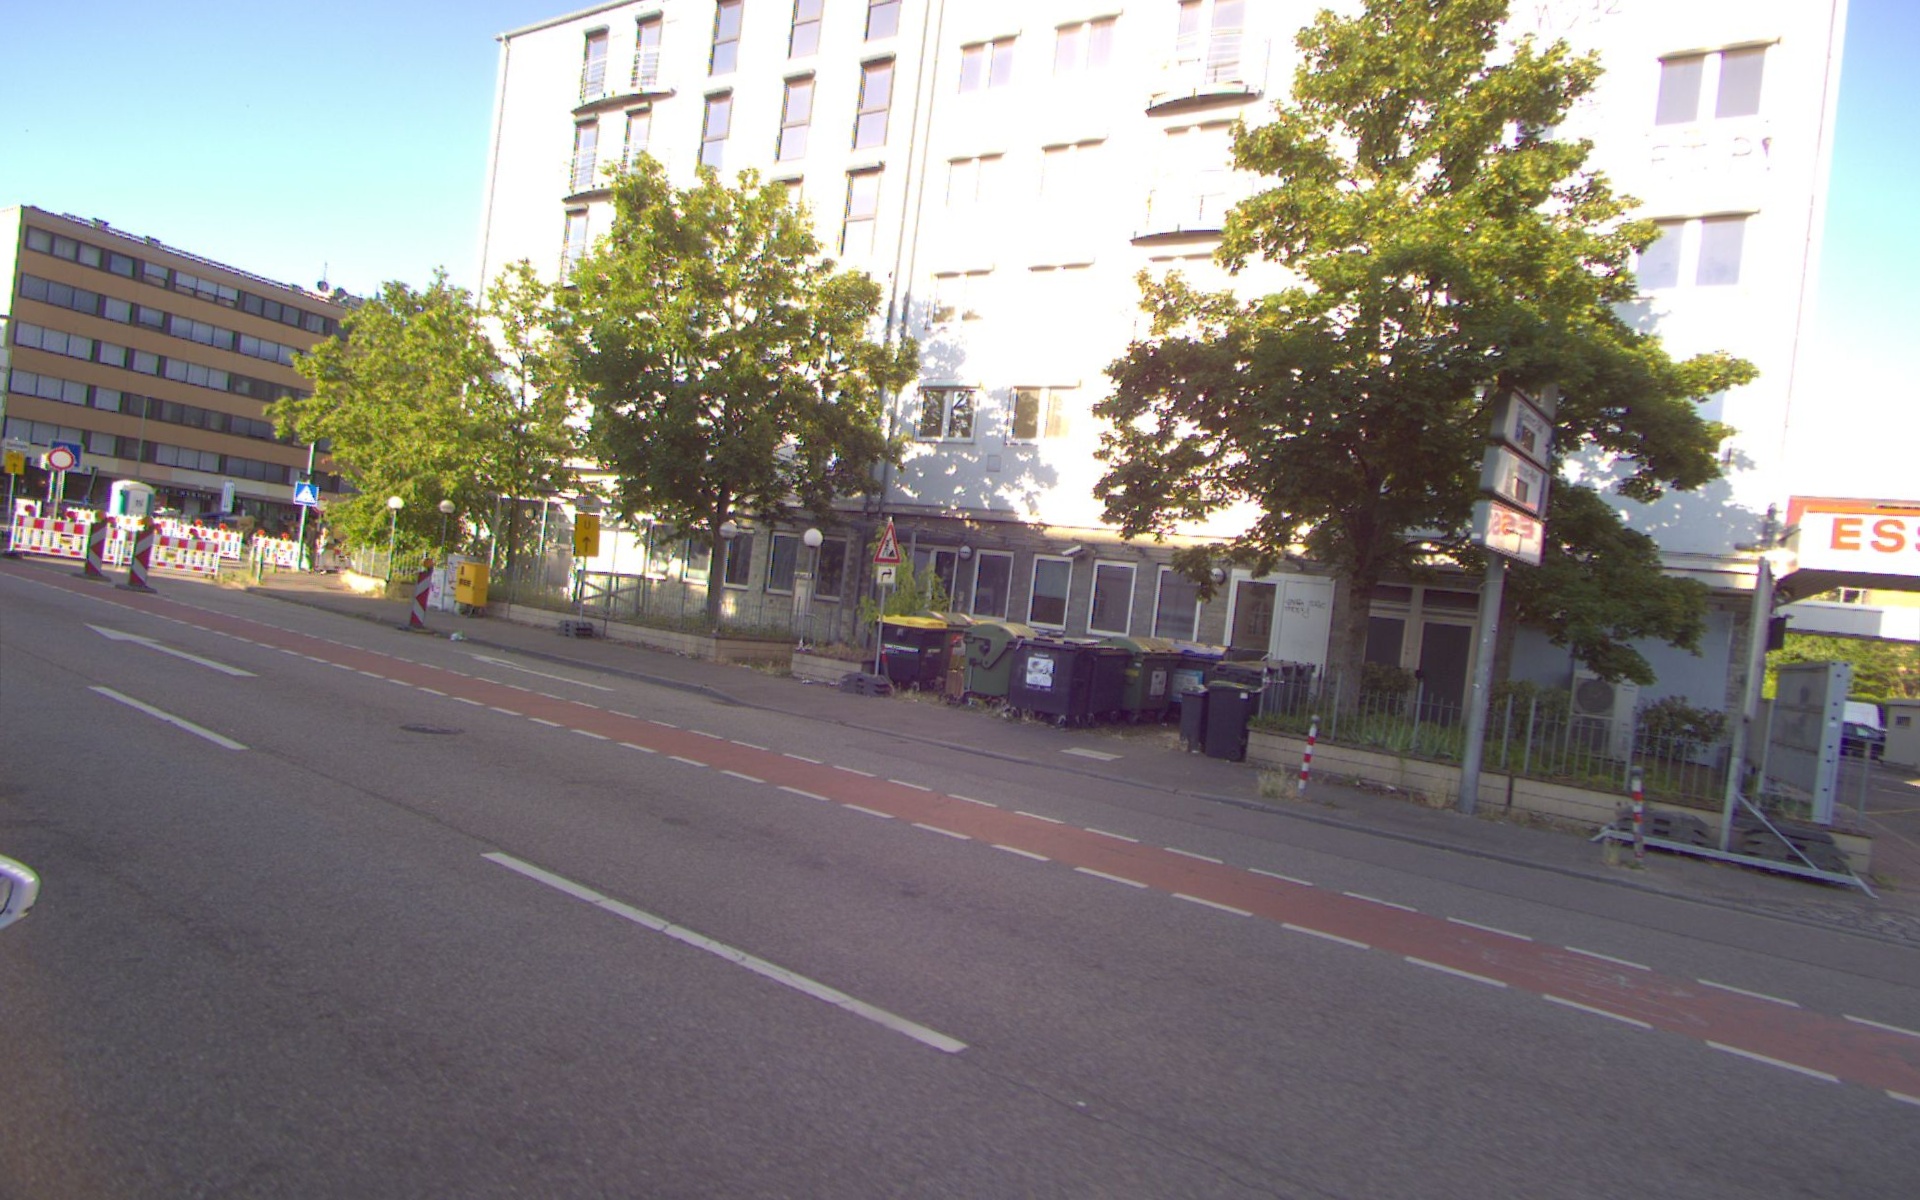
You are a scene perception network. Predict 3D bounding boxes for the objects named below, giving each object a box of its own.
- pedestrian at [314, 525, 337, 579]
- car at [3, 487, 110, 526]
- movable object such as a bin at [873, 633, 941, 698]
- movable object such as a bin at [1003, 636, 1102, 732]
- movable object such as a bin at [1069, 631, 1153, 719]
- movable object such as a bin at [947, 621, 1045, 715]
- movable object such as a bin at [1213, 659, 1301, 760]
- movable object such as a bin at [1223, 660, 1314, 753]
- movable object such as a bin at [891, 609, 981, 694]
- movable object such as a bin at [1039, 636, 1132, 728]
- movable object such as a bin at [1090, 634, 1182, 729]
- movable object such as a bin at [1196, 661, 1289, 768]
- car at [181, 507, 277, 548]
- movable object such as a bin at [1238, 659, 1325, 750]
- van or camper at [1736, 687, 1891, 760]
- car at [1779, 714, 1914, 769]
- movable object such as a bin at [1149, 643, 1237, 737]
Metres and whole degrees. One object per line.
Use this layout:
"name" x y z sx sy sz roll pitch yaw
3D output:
"pedestrian" -22.938 -1.726 36.359 0.481 1.857 0.568 7 1 -26
"car" -50.202 -5.165 56.002 1.756 1.437 3.997 7 -1 26
"movable object such as a bin" -0.954 1.180 18.156 0.805 1.058 0.852 7 0 28
"movable object such as a bin" 1.469 1.318 15.963 1.142 1.344 0.955 7 0 30
"movable object such as a bin" 2.924 1.447 19.451 1.142 1.517 1.033 7 0 30
"movable object such as a bin" 0.640 1.174 17.505 1.087 1.441 1.350 7 0 28
"movable object such as a bin" 4.478 1.624 15.126 0.938 1.344 0.955 7 0 30
"movable object such as a bin" 4.944 1.676 16.093 1.079 1.299 0.955 7 0 30
"movable object such as a bin" -0.459 1.019 19.775 1.087 1.479 1.350 7 0 28
"movable object such as a bin" 2.109 1.364 16.840 1.142 1.344 0.955 7 0 30
"movable object such as a bin" 3.070 1.408 17.512 1.142 1.466 1.033 7 0 30
"movable object such as a bin" 4.015 1.596 14.260 0.938 1.344 0.955 7 0 30
"car" -44.873 -4.412 61.812 1.967 1.839 4.220 7 0 33
"movable object such as a bin" 5.427 1.747 16.963 1.079 1.344 0.955 7 0 30
"van or camper" 42.664 6.109 50.479 5.249 2.722 2.206 7 0 26
"car" 37.265 5.919 42.412 3.830 1.628 1.685 7 -2 29
"movable object such as a bin" 4.218 1.610 18.187 1.142 1.517 1.033 7 0 30
